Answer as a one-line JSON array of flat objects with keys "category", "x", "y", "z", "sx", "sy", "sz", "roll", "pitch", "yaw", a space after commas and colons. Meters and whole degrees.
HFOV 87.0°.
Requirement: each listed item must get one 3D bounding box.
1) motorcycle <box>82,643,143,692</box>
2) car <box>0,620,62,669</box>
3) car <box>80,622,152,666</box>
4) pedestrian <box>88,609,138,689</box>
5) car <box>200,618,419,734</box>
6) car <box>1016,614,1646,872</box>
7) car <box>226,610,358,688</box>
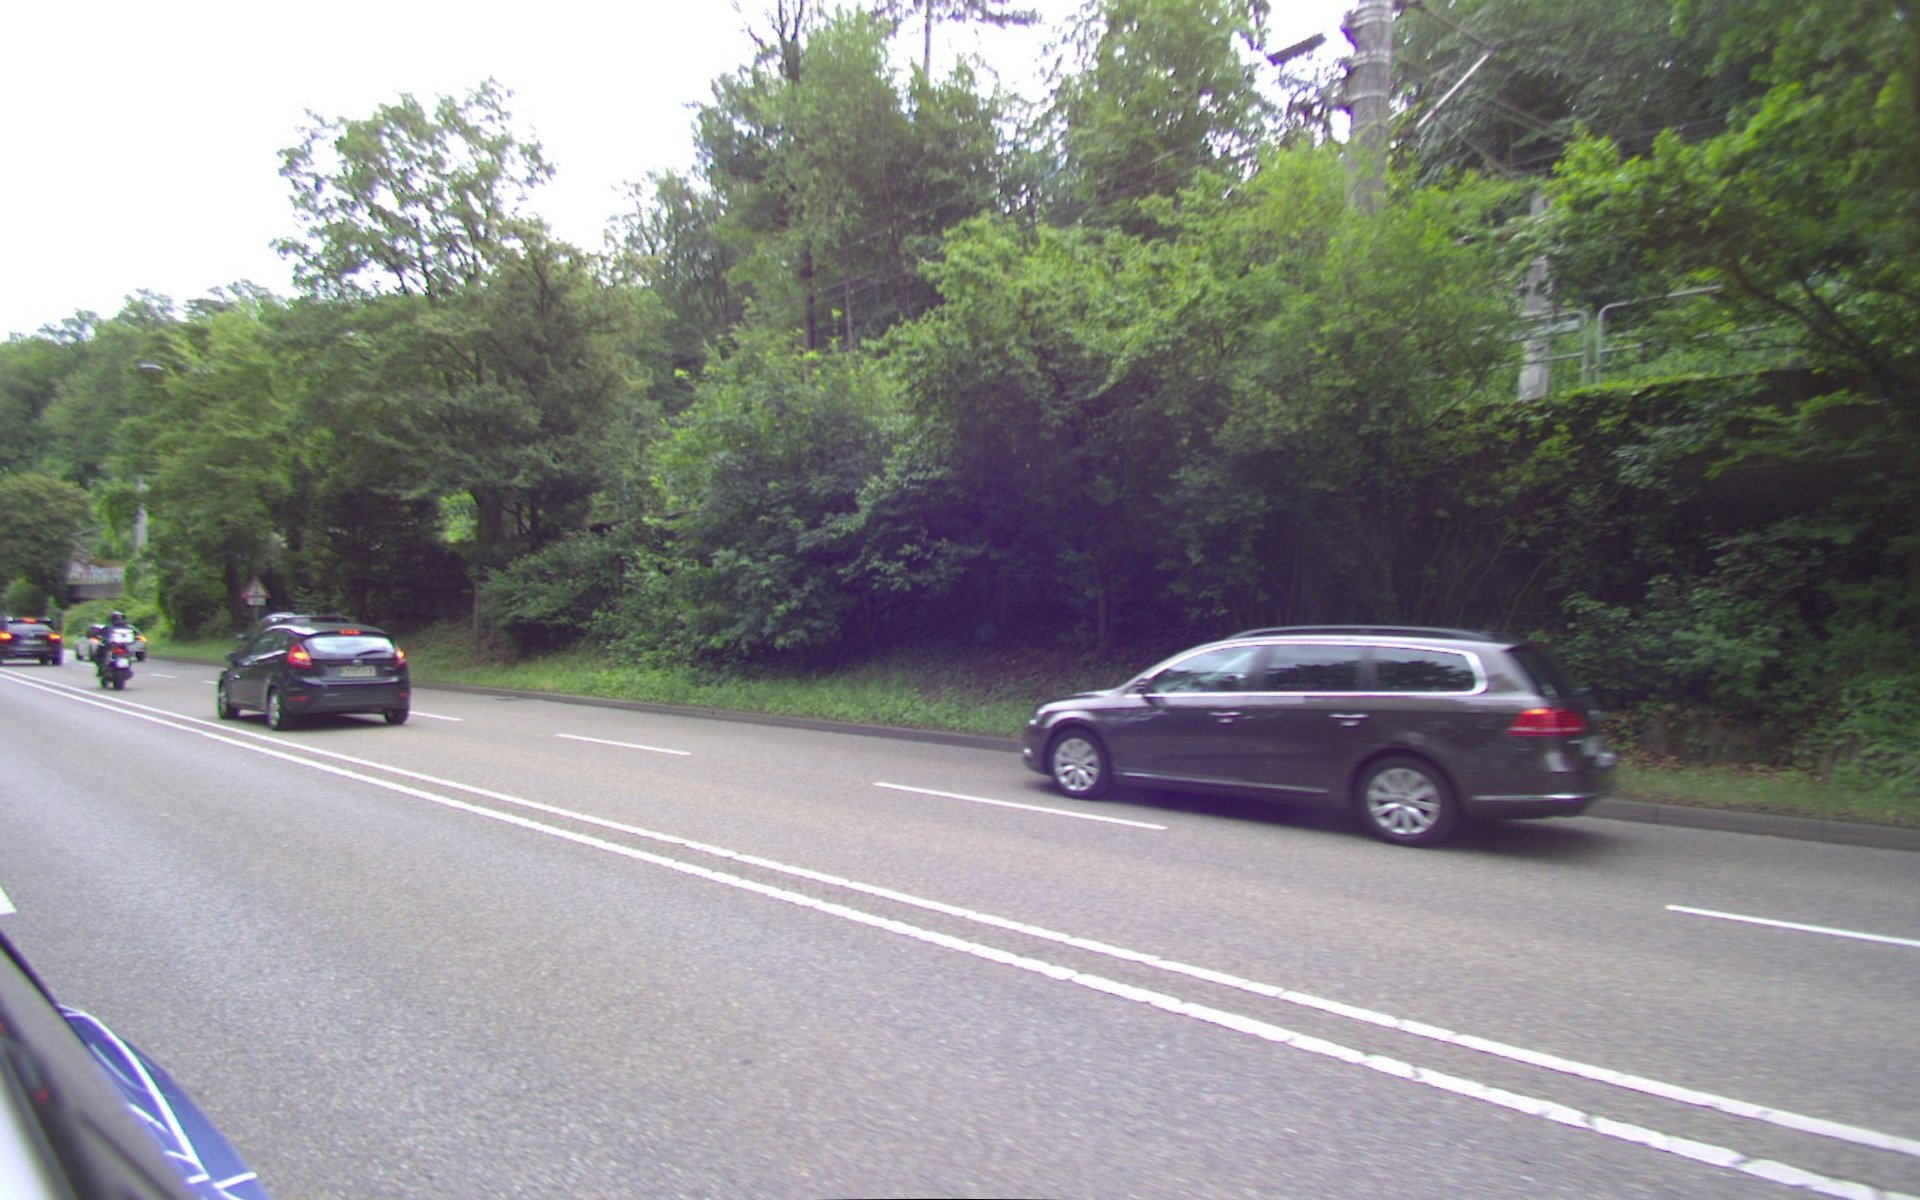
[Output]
[{"category": "motorcycle", "x": -18.418, "y": 1.443, "z": 21.976, "sx": 2.025, "sy": 1.007, "sz": 0.692, "roll": -1, "pitch": -3, "yaw": 41}, {"category": "car", "x": -32.449, "y": 1.498, "z": 34.875, "sx": 3.998, "sy": 1.564, "sz": 1.779, "roll": -1, "pitch": 0, "yaw": 41}, {"category": "car", "x": -33.254, "y": 1.688, "z": 39.841, "sx": 3.998, "sy": 1.564, "sz": 1.552, "roll": -1, "pitch": 0, "yaw": 41}, {"category": "pedestrian", "x": -18.407, "y": 1.052, "z": 21.988, "sx": 0.829, "sy": 1.701, "sz": 0.656, "roll": -1, "pitch": -3, "yaw": 41}, {"category": "car", "x": -9.677, "y": 1.011, "z": 14.937, "sx": 3.998, "sy": 1.472, "sz": 1.669, "roll": -1, "pitch": -2, "yaw": 41}, {"category": "car", "x": 2.723, "y": 0.897, "z": 8.114, "sx": 4.431, "sy": 1.522, "sz": 1.714, "roll": -1, "pitch": -3, "yaw": 42}, {"category": "car", "x": -16.711, "y": 1.187, "z": 25.244, "sx": 4.133, "sy": 1.786, "sz": 1.640, "roll": -1, "pitch": -3, "yaw": 41}]
